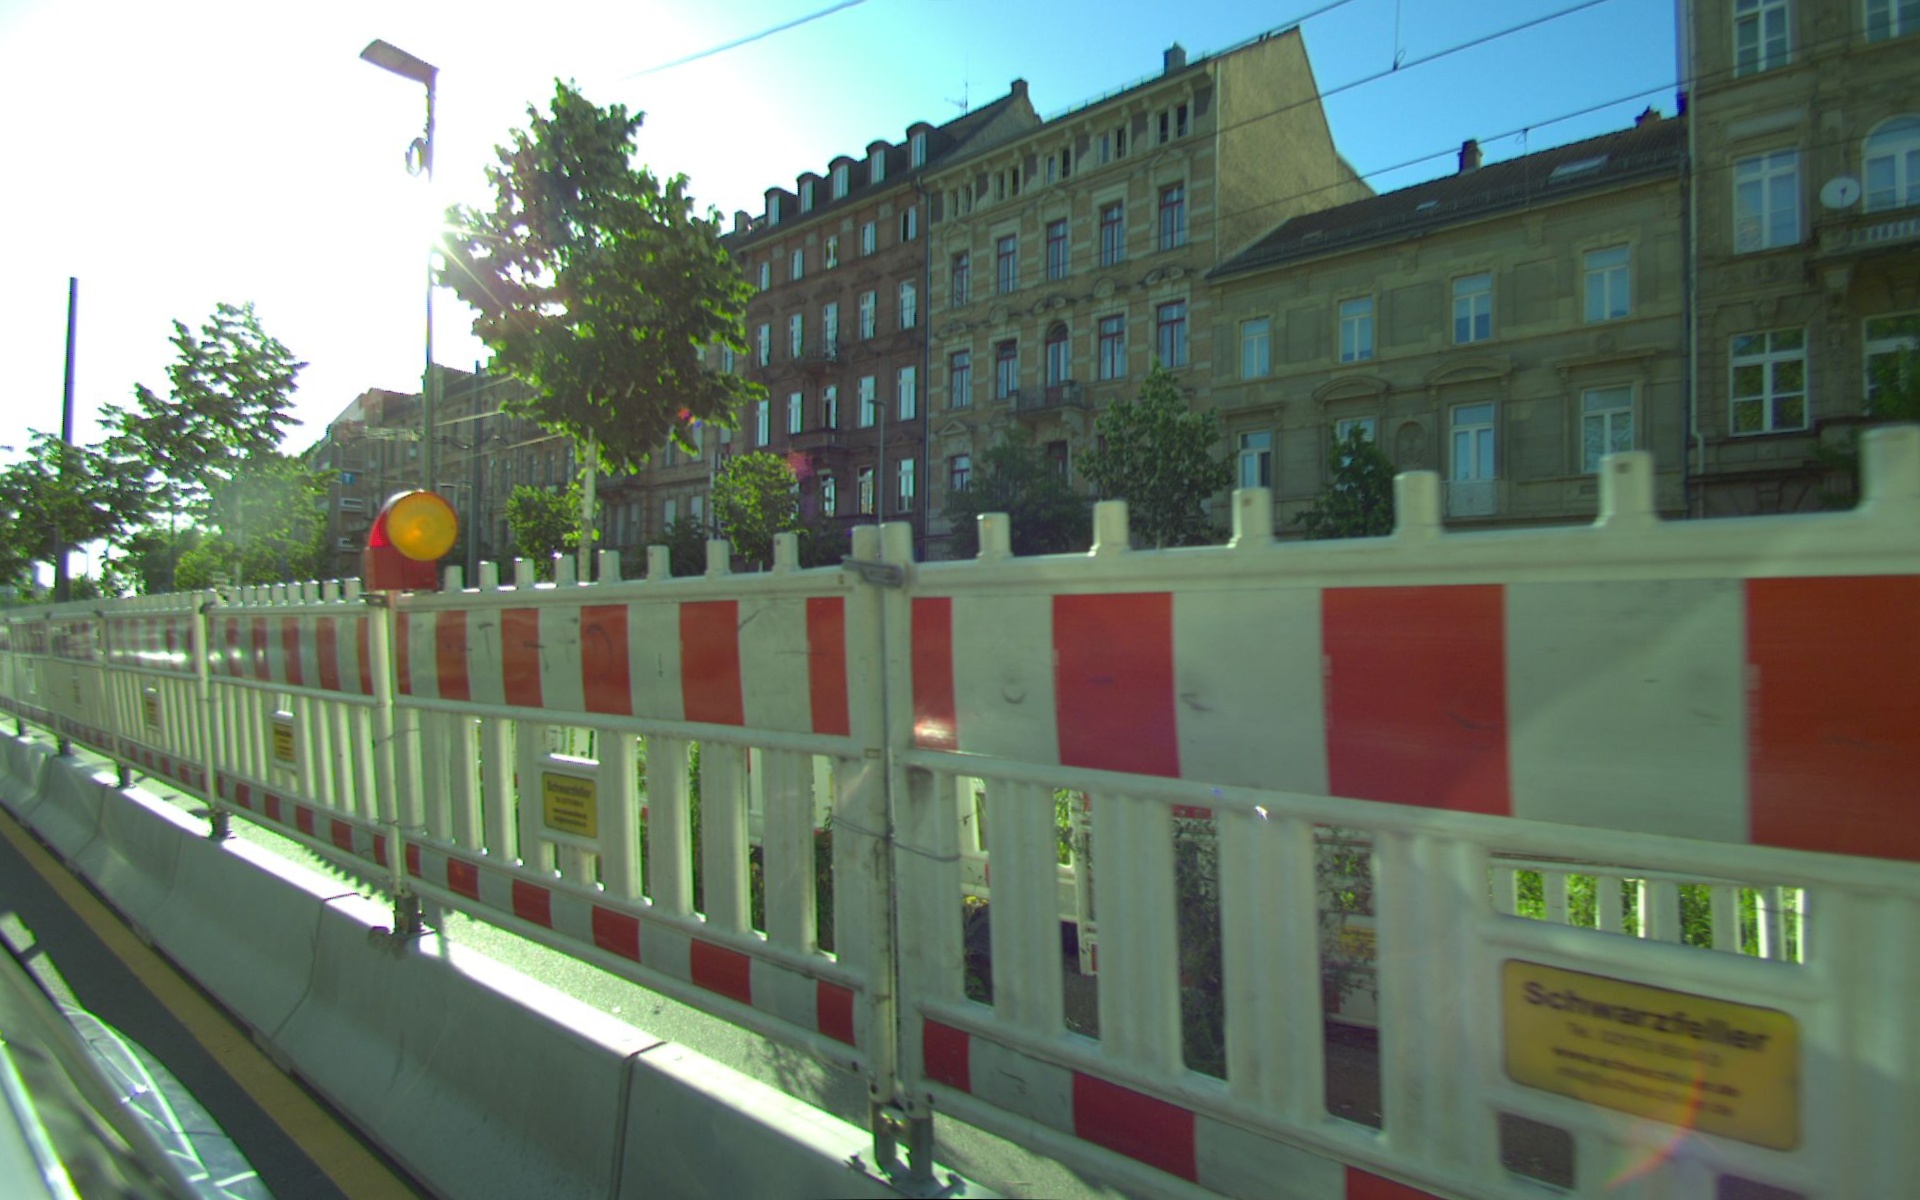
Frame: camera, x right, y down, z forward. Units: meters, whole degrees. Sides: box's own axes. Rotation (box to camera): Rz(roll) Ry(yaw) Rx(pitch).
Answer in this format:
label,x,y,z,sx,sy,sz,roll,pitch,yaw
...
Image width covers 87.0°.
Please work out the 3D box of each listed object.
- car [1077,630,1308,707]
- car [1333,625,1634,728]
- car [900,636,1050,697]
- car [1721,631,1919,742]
label,x,y,z,sx,sy,sz,roll,pitch,yaw
car,5.385,1.523,23.879,4.982,1.549,1.973,-1,0,41
car,10.066,1.368,19.705,4.884,1.710,1.973,-1,0,40
car,0.370,1.799,28.290,4.026,1.490,1.730,-1,0,41
car,14.652,1.300,15.706,4.446,1.564,1.973,-1,0,40
